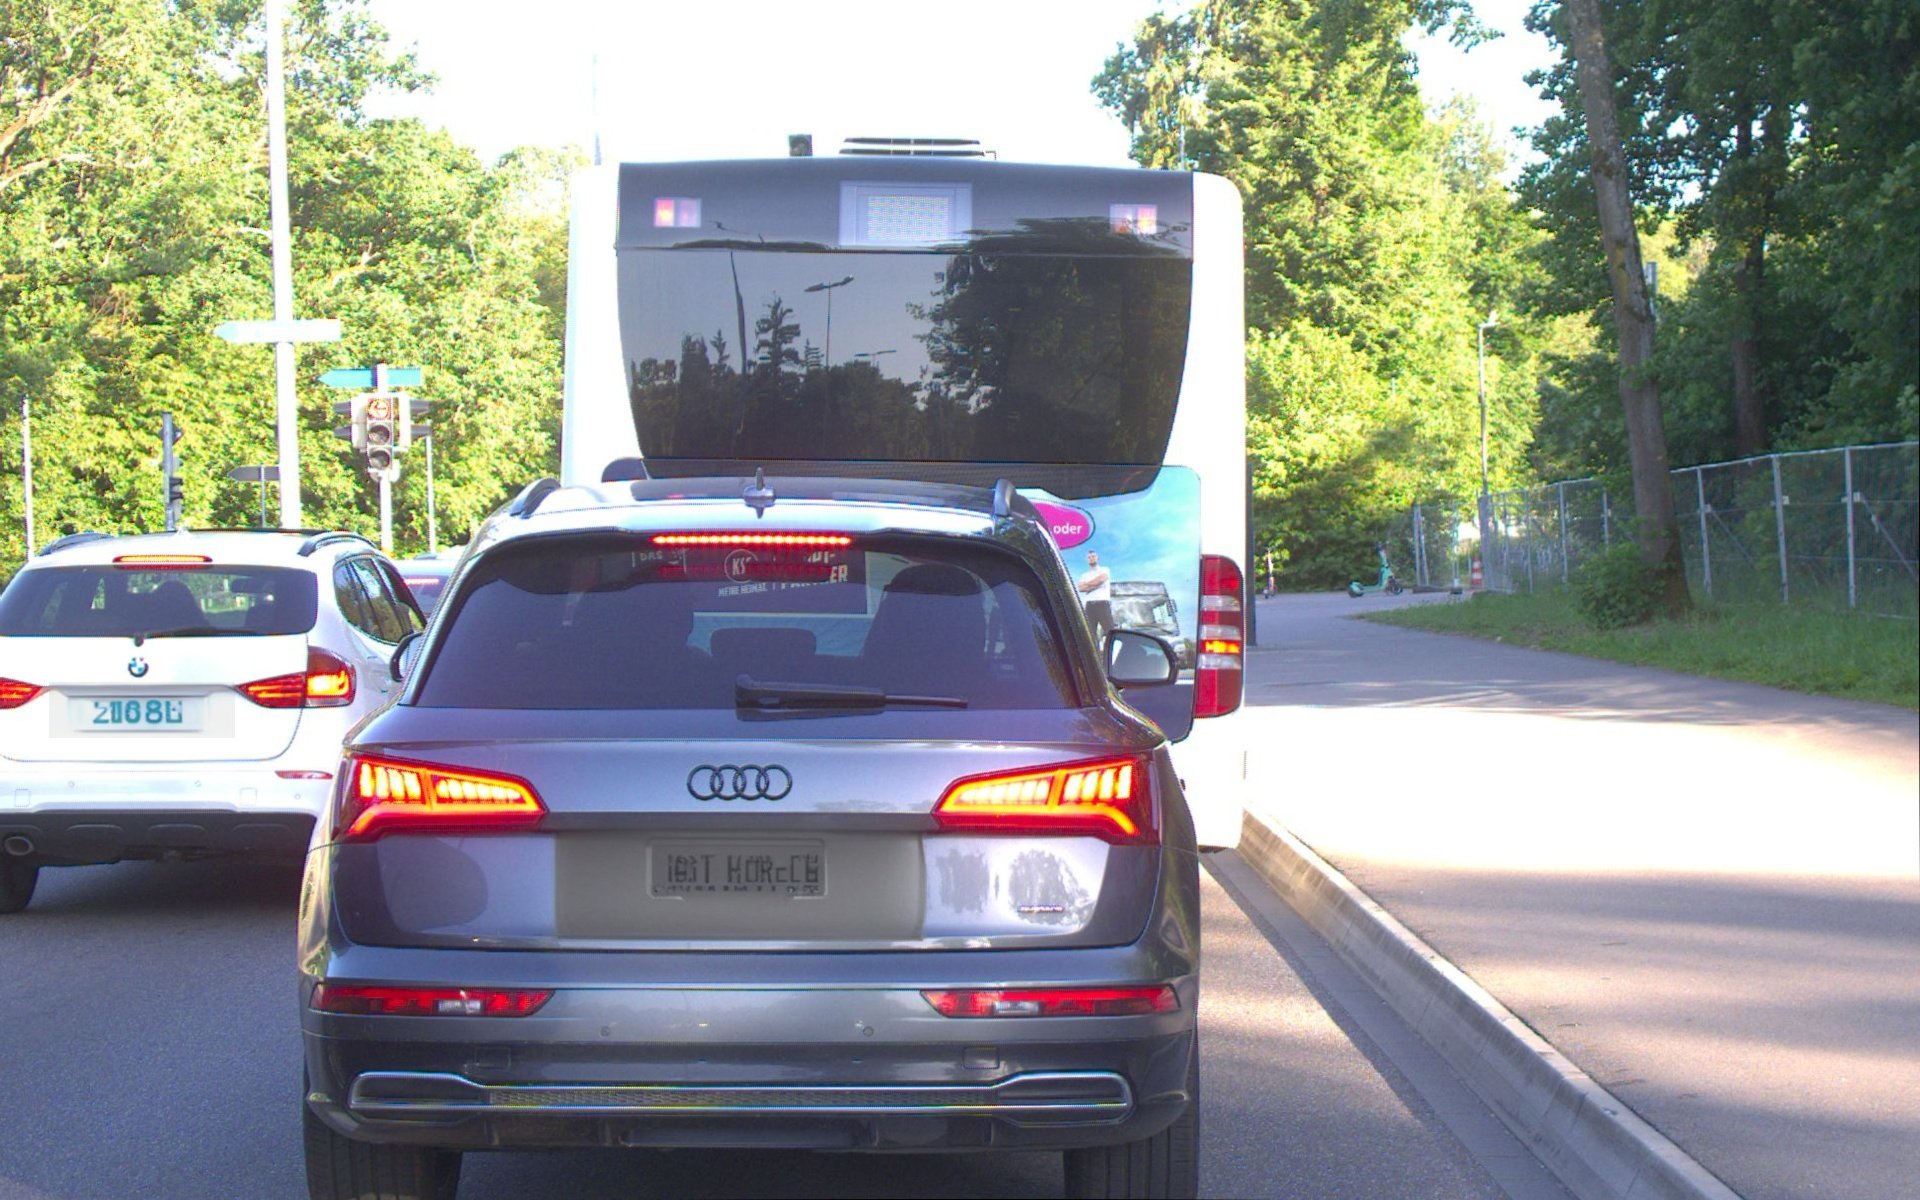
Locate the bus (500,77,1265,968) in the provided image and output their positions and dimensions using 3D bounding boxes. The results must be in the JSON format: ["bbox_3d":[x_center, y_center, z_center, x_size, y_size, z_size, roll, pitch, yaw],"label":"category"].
[{"bbox_3d":[-0.249,-0.355,15.164,2.678,3.131,5.882,1,2,1],"label":"bus"}]

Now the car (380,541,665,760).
[{"bbox_3d":[-3.433,0.346,27.624,1.808,1.567,4.000,1,2,-1],"label":"car"}]

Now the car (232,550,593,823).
[{"bbox_3d":[-3.268,0.455,21.228,1.785,1.439,4.279,1,2,-4],"label":"car"}]

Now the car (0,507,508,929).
[{"bbox_3d":[-3.132,0.449,15.185,1.718,1.575,4.434,1,0,-1],"label":"car"}]

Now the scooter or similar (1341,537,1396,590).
[{"bbox_3d":[9.256,-0.832,77.942,1.184,1.170,0.659,1,1,11],"label":"scooter or similar"}]

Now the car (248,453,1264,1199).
[{"bbox_3d":[-0.404,0.514,8.385,1.868,1.658,4.000,1,2,-1],"label":"car"}]
